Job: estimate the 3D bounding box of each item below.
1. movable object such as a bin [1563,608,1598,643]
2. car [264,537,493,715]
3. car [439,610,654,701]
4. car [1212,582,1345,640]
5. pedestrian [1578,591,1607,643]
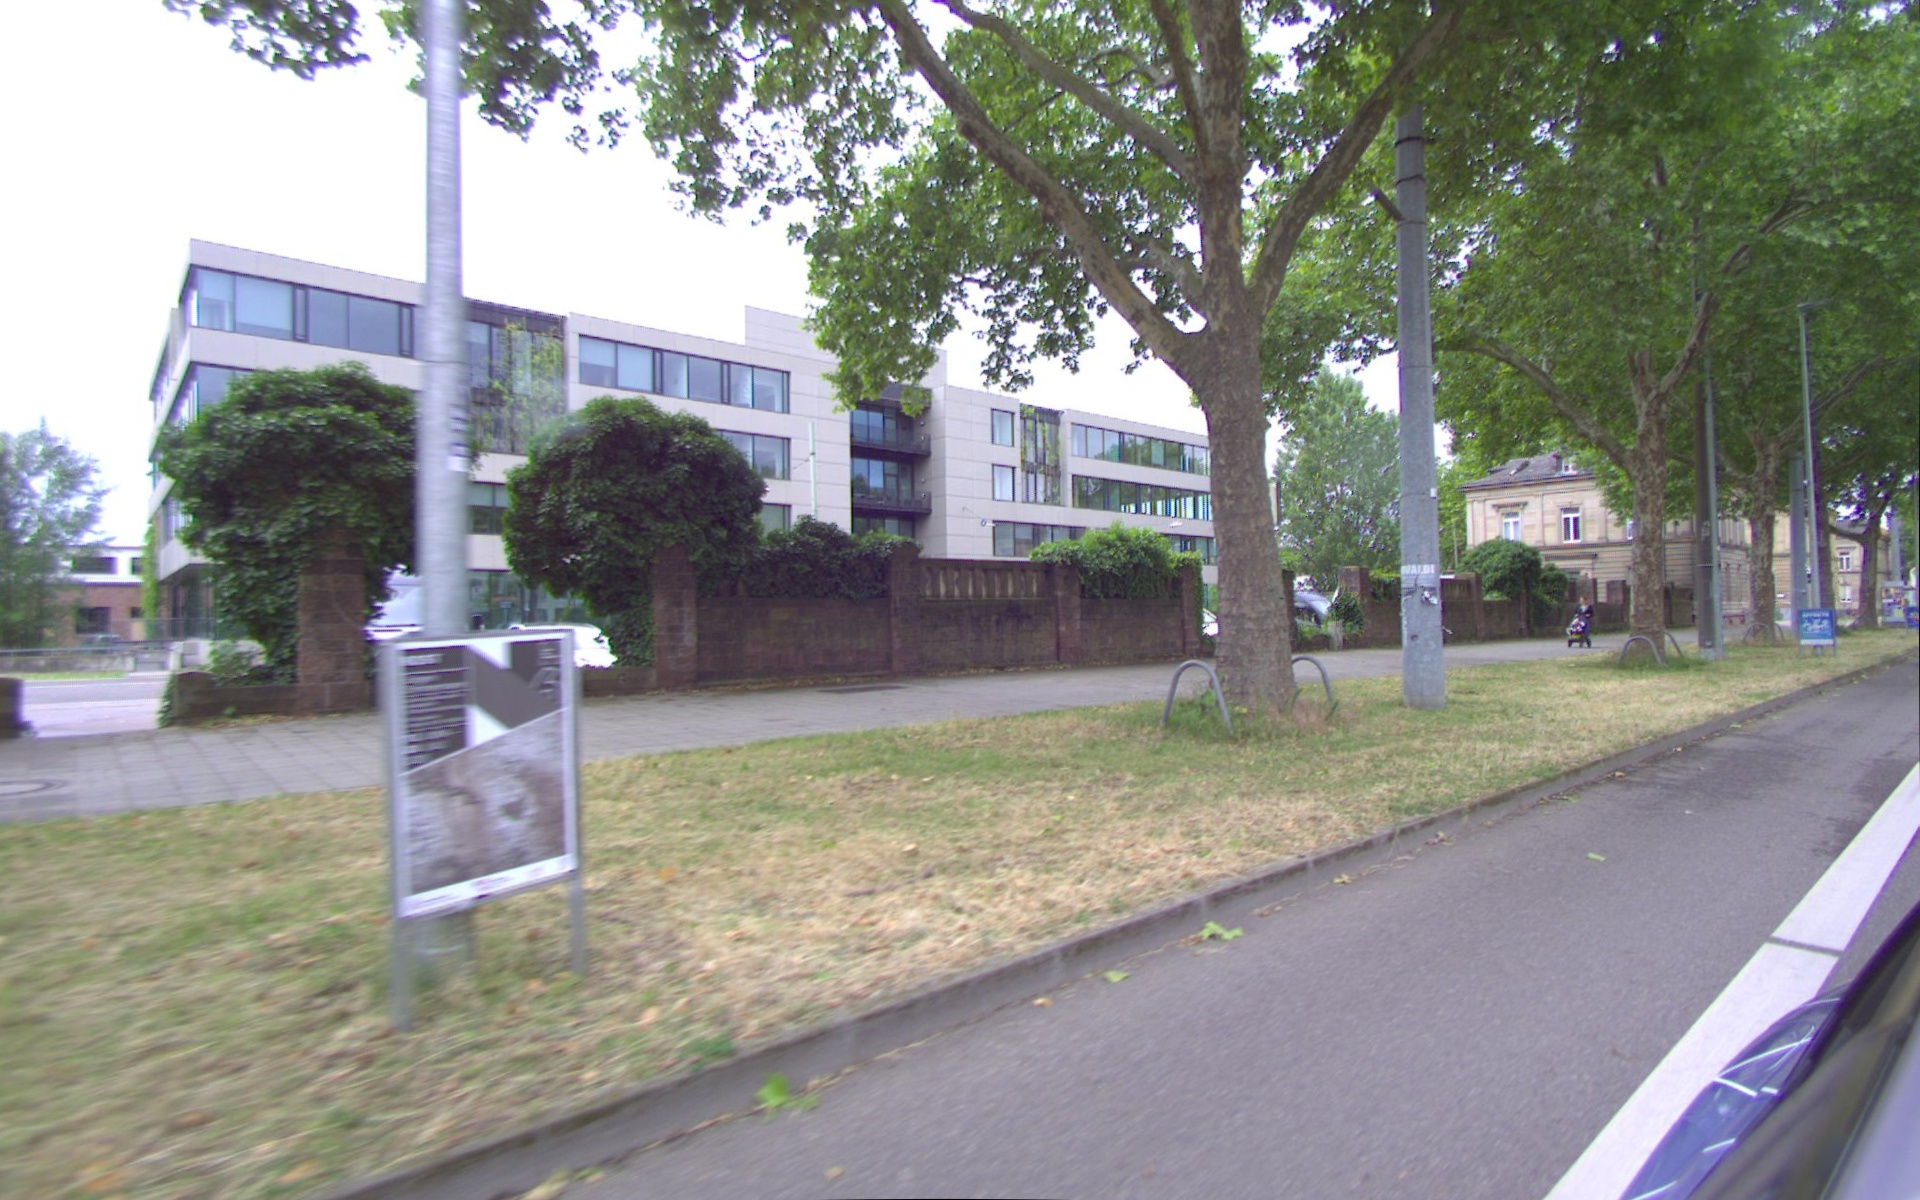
[{"bbox_3d":[20.038,0.822,32.685,0.995,1.126,0.613,0,-2,-36],"label":"movable object such as a bin"},{"bbox_3d":[-9.639,0.485,16.530,2.041,2.453,5.234,-1,-3,-44],"label":"car"},{"bbox_3d":[-7.804,0.990,18.798,1.971,1.429,5.098,-1,-2,-44],"label":"car"},{"bbox_3d":[11.869,0.428,37.887,1.967,2.039,4.350,-1,-1,-44],"label":"car"},{"bbox_3d":[20.753,0.556,33.186,0.657,1.653,0.560,-1,-1,-36],"label":"pedestrian"}]
